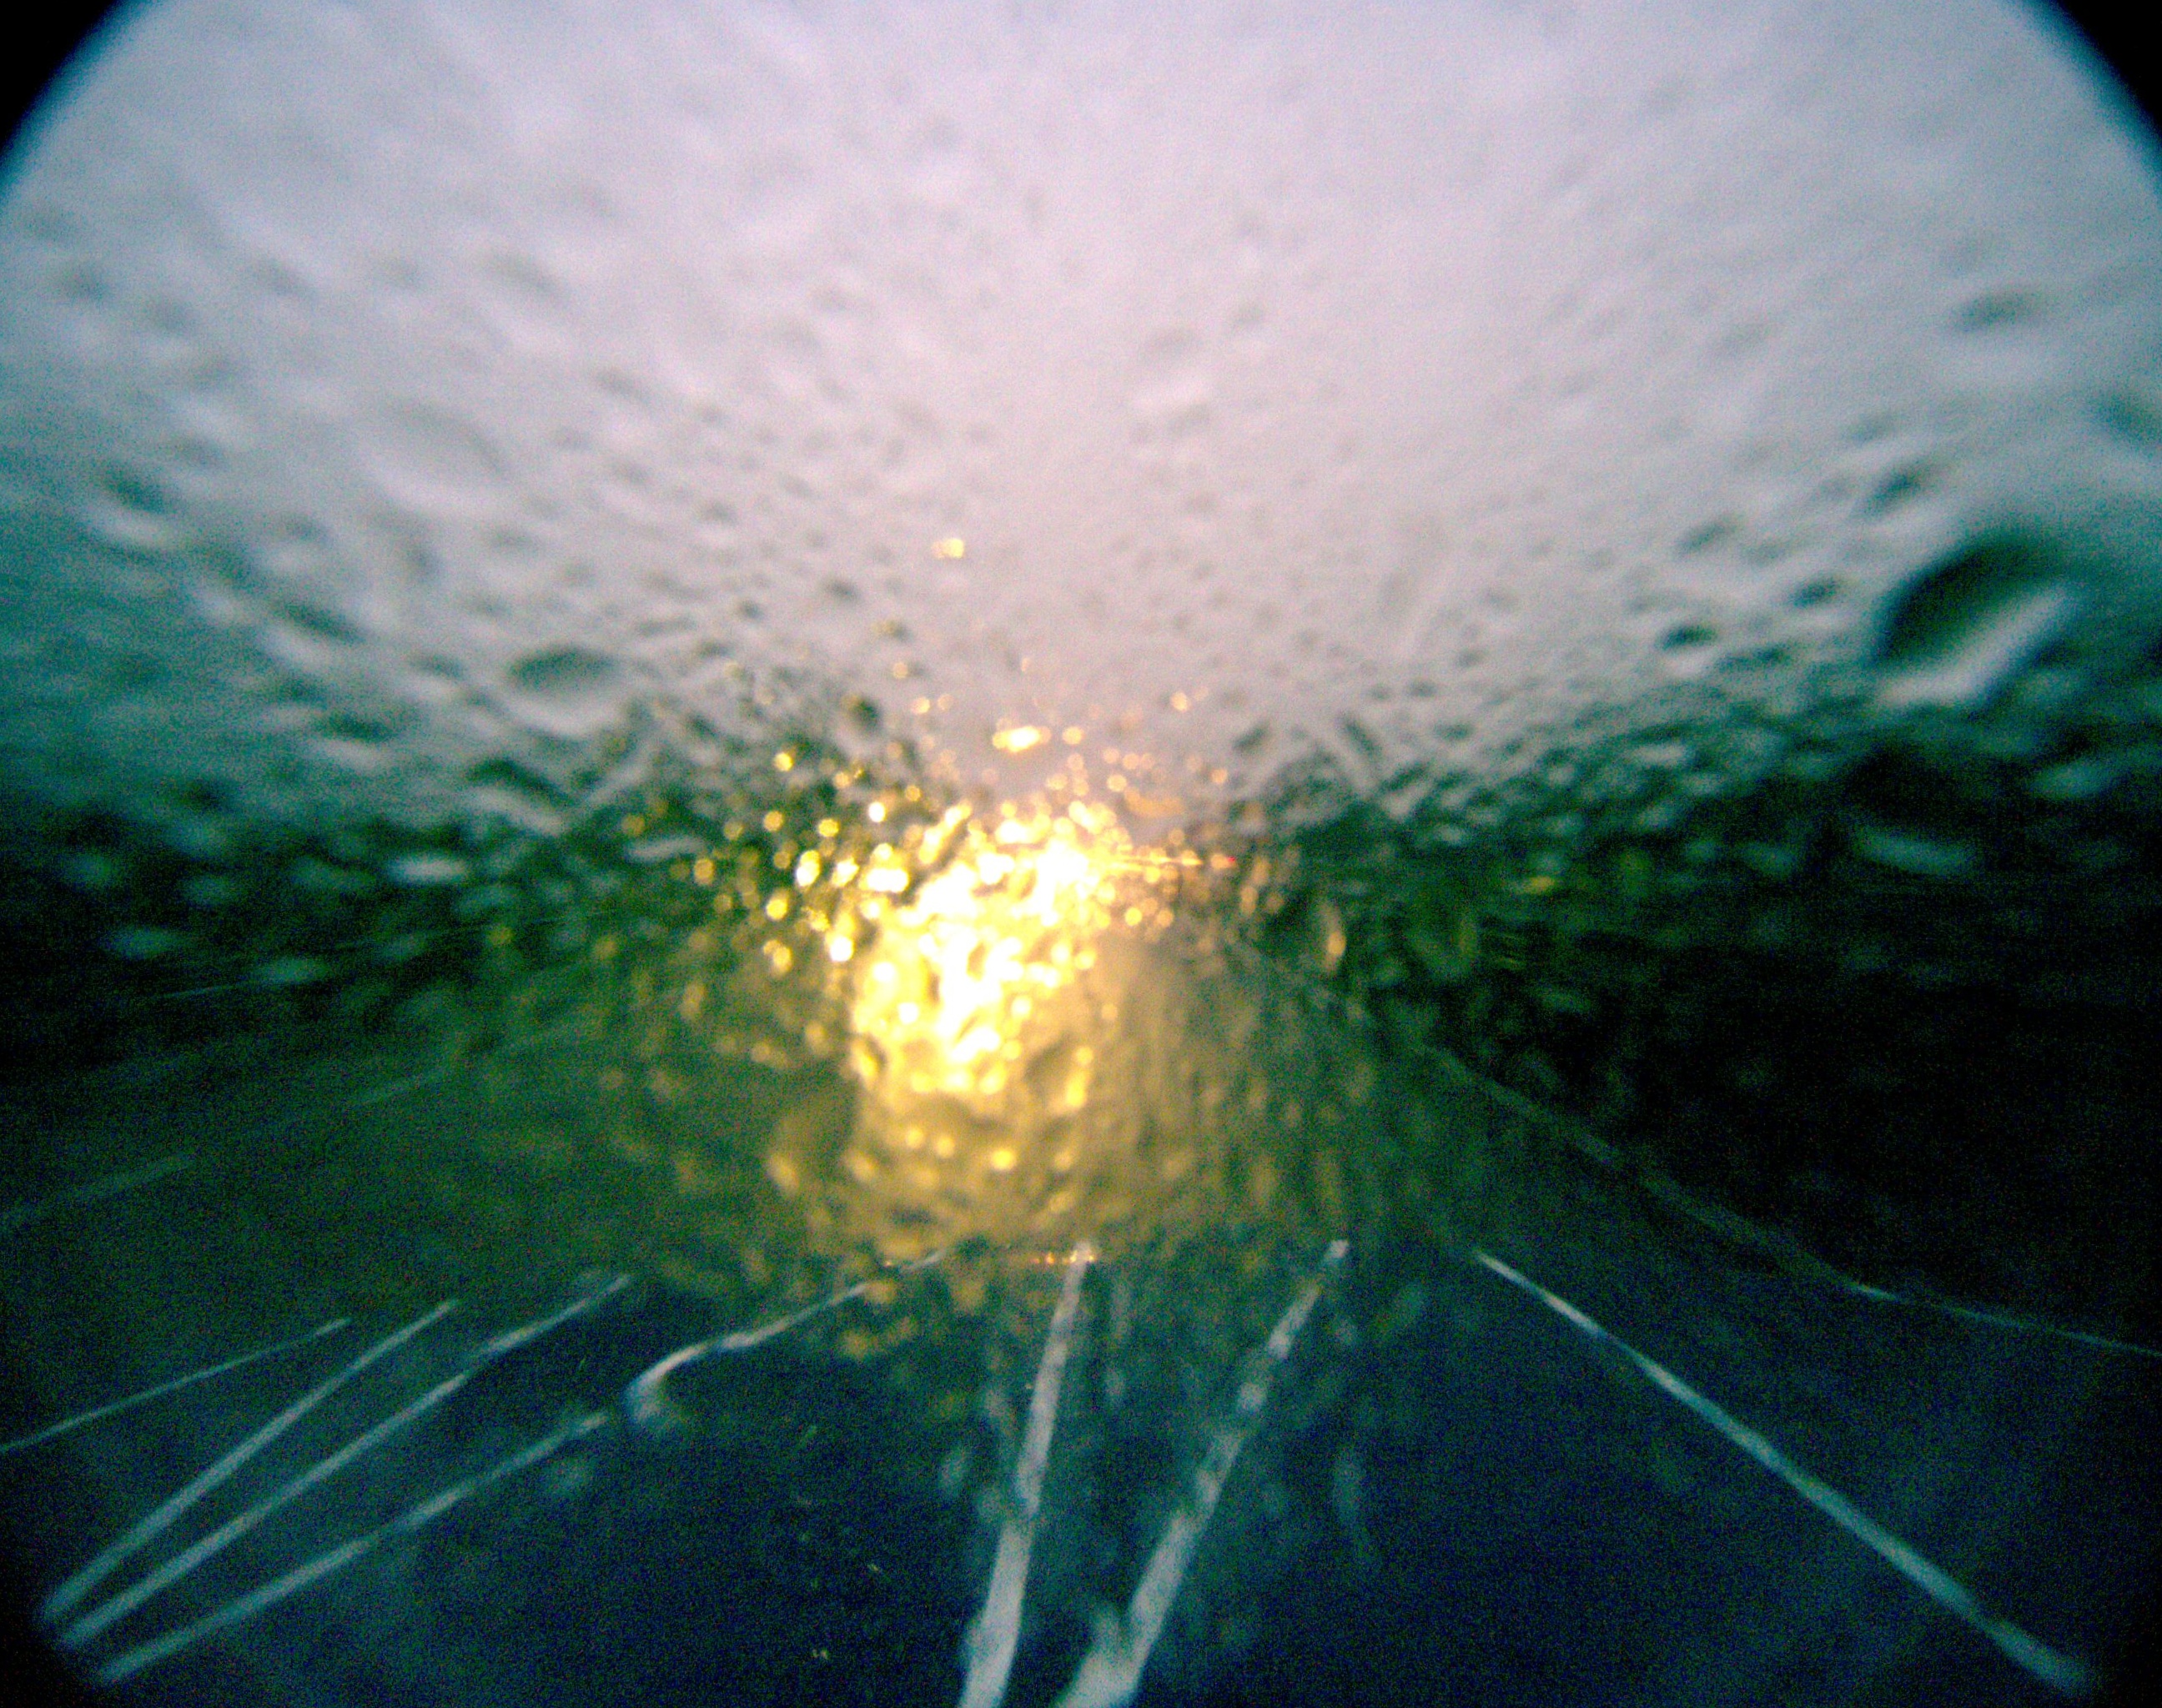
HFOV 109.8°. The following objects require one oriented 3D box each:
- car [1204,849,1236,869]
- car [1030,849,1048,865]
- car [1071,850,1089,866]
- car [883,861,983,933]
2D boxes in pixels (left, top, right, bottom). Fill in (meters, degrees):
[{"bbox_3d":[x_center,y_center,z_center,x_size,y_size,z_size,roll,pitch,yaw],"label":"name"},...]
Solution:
[{"bbox_3d":[10.974,0.382,60.303,1.721,1.415,3.999,3,0,-1],"label":"car"},{"bbox_3d":[-3.999,0.291,73.046,1.632,1.465,3.999,-1,0,-3],"label":"car"},{"bbox_3d":[-0.119,0.396,75.705,1.632,1.465,3.999,-1,0,-3],"label":"car"},{"bbox_3d":[-3.460,0.941,18.414,1.802,1.494,3.999,-2,0,-3],"label":"car"}]
